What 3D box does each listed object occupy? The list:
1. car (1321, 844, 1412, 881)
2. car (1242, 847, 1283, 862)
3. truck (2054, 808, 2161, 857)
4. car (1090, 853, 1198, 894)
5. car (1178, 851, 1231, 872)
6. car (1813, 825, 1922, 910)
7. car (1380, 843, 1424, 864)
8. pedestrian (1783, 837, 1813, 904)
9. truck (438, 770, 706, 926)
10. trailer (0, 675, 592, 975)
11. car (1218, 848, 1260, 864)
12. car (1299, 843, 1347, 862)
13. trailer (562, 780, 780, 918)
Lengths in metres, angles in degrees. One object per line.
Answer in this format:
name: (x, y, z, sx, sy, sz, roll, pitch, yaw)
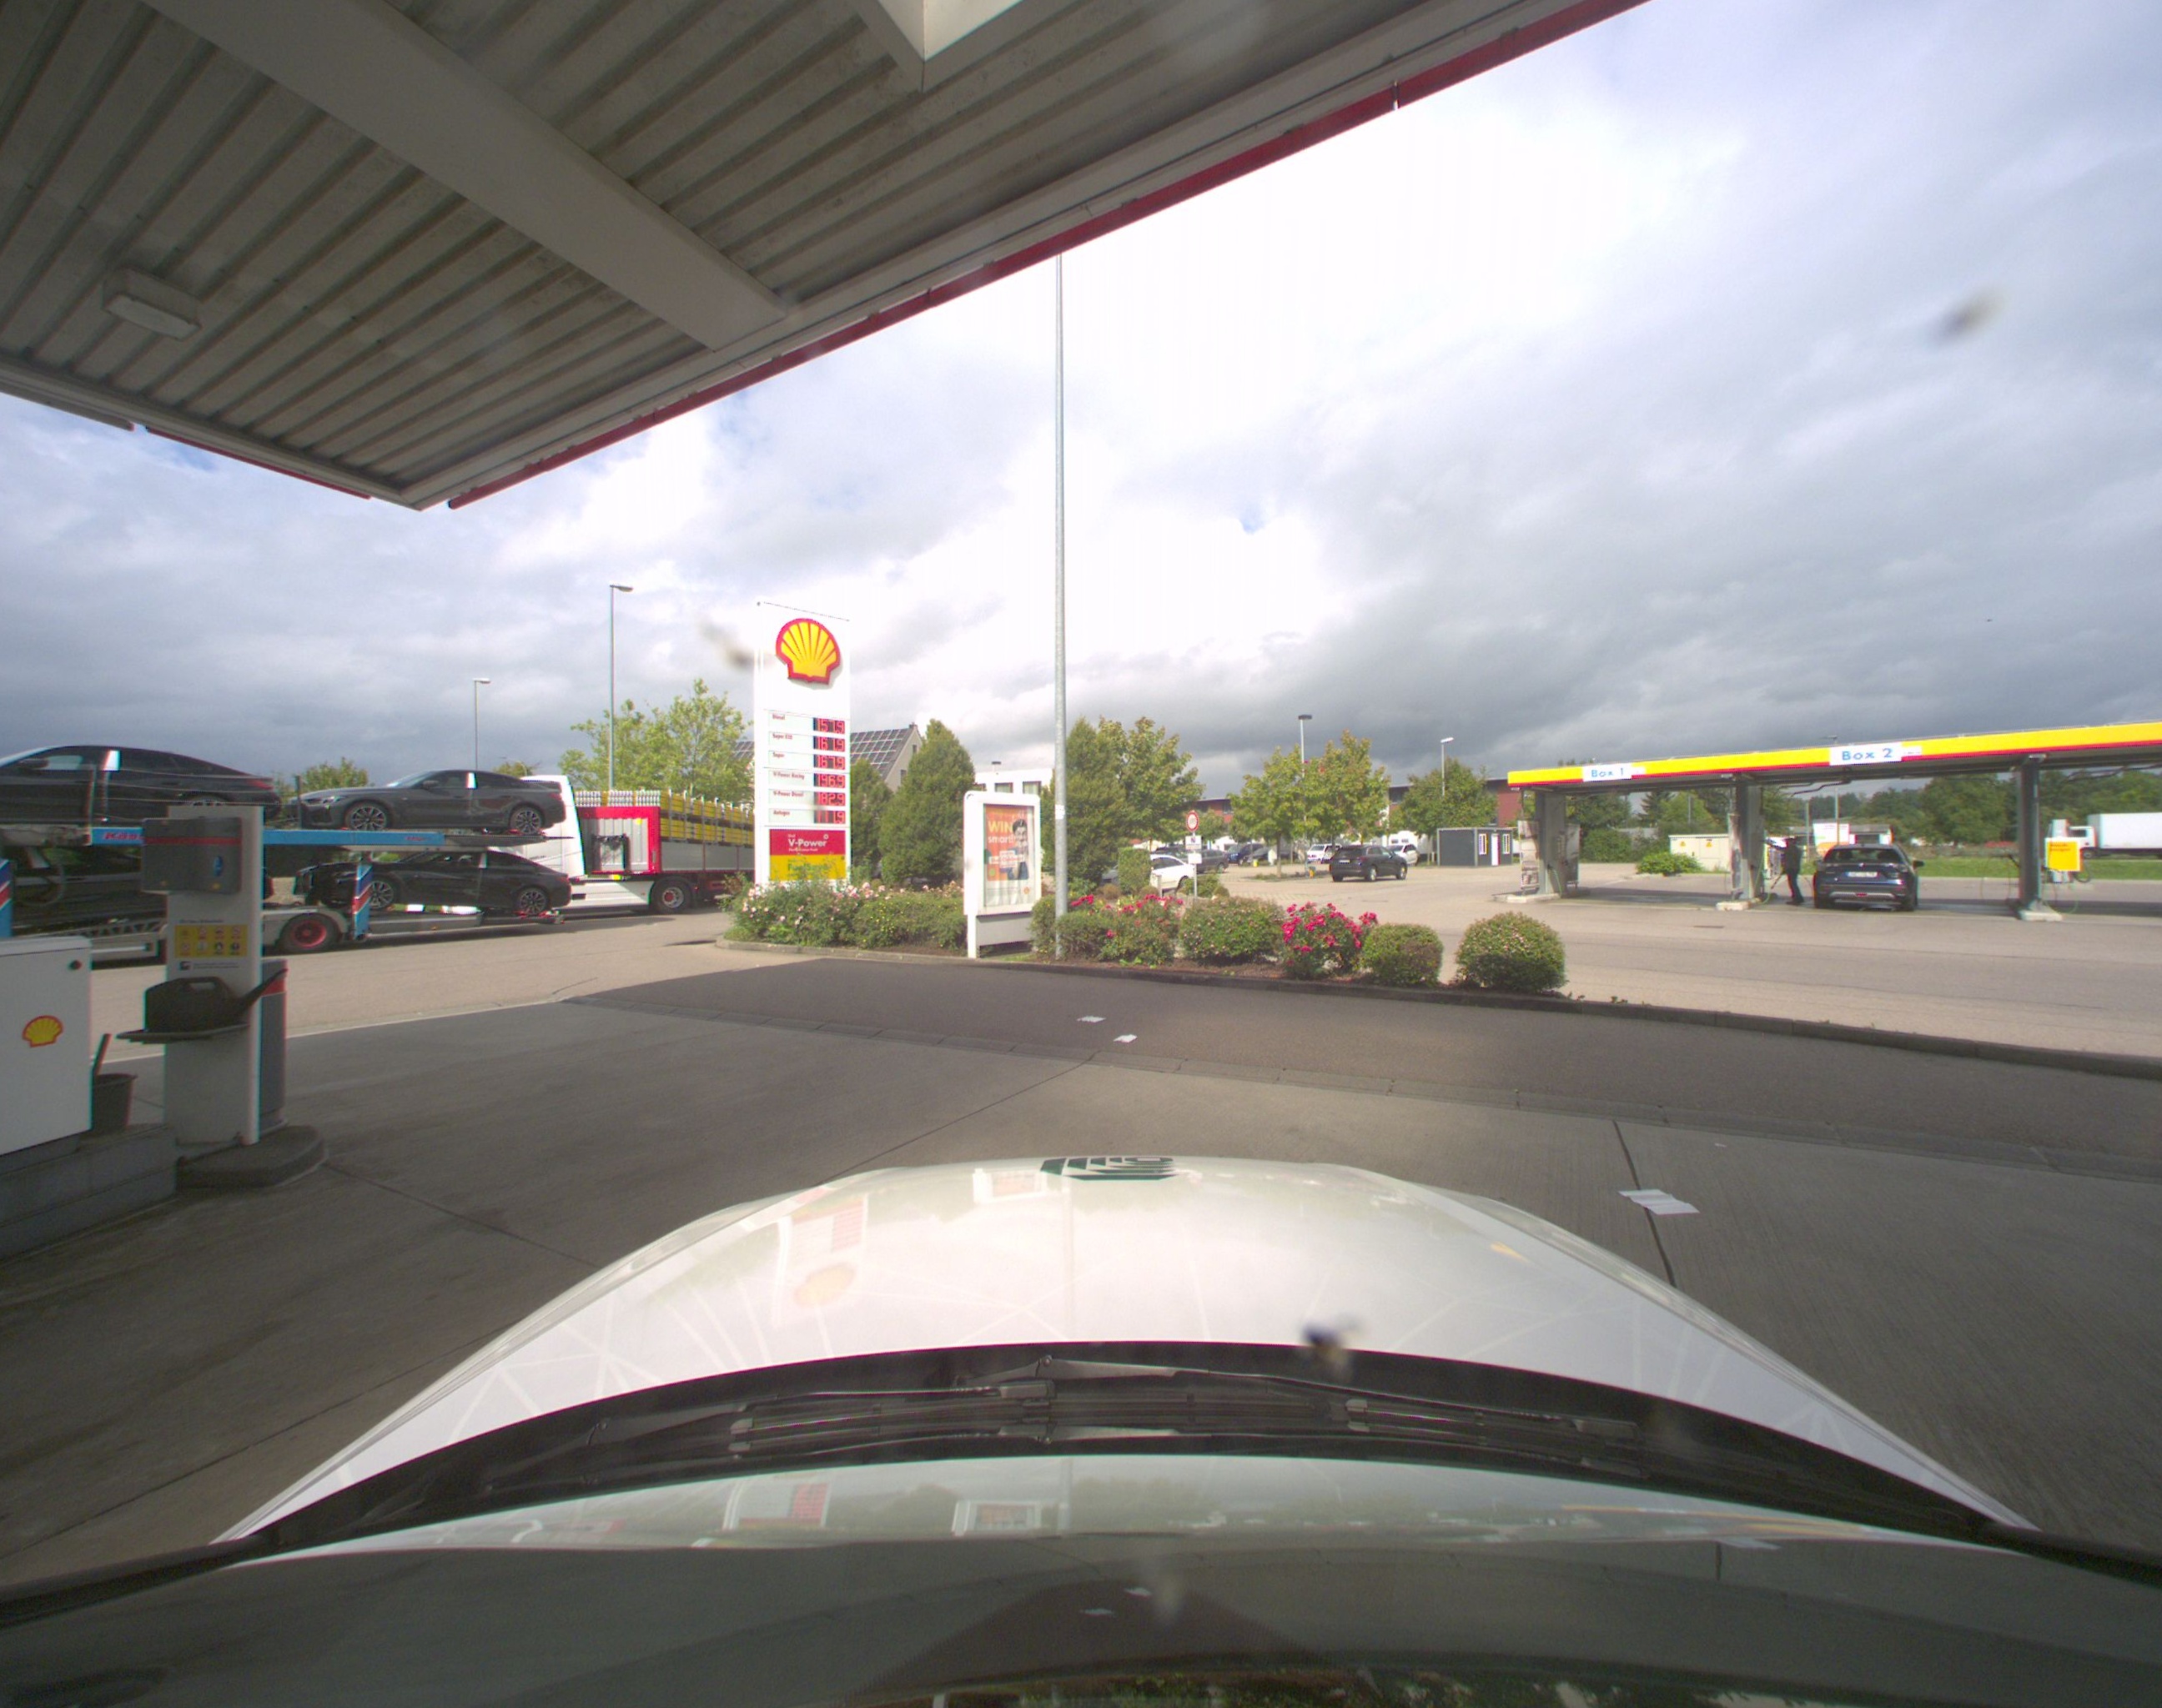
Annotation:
car: (12.878, 0.374, 36.583, 4.527, 1.548, 1.864, 0, -1, -41)
car: (14.496, 0.033, 64.879, 3.437, 1.179, 1.468, 0, -1, -42)
truck: (78.234, -1.559, 60.008, 7.989, 3.534, 2.714, -1, -1, 41)
car: (2.396, 0.683, 30.025, 4.368, 1.404, 1.354, 0, -1, -42)
car: (7.543, 0.448, 49.709, 3.245, 1.228, 1.488, 0, -1, -42)
car: (19.440, 0.317, 20.078, 3.828, 1.897, 1.703, 0, -1, -43)
car: (20.610, -0.048, 52.219, 3.120, 1.307, 1.352, 0, -1, -42)
pedestrian: (18.650, 0.421, 21.187, 0.551, 1.722, 0.531, -1, -1, 40)
truck: (-14.254, -0.130, 23.128, 2.707, 3.846, 5.954, -1, -1, 43)
trailer: (-16.434, -0.412, 13.689, 2.711, 4.423, 14.450, -1, -1, 31)
car: (12.954, 0.180, 66.663, 3.407, 1.320, 1.726, 0, -1, -42)
car: (23.878, -0.125, 80.272, 4.903, 1.833, 2.159, 0, -1, -41)
trailer: (-13.624, -0.088, 28.774, 2.728, 3.776, 12.681, 0, 0, -7)
